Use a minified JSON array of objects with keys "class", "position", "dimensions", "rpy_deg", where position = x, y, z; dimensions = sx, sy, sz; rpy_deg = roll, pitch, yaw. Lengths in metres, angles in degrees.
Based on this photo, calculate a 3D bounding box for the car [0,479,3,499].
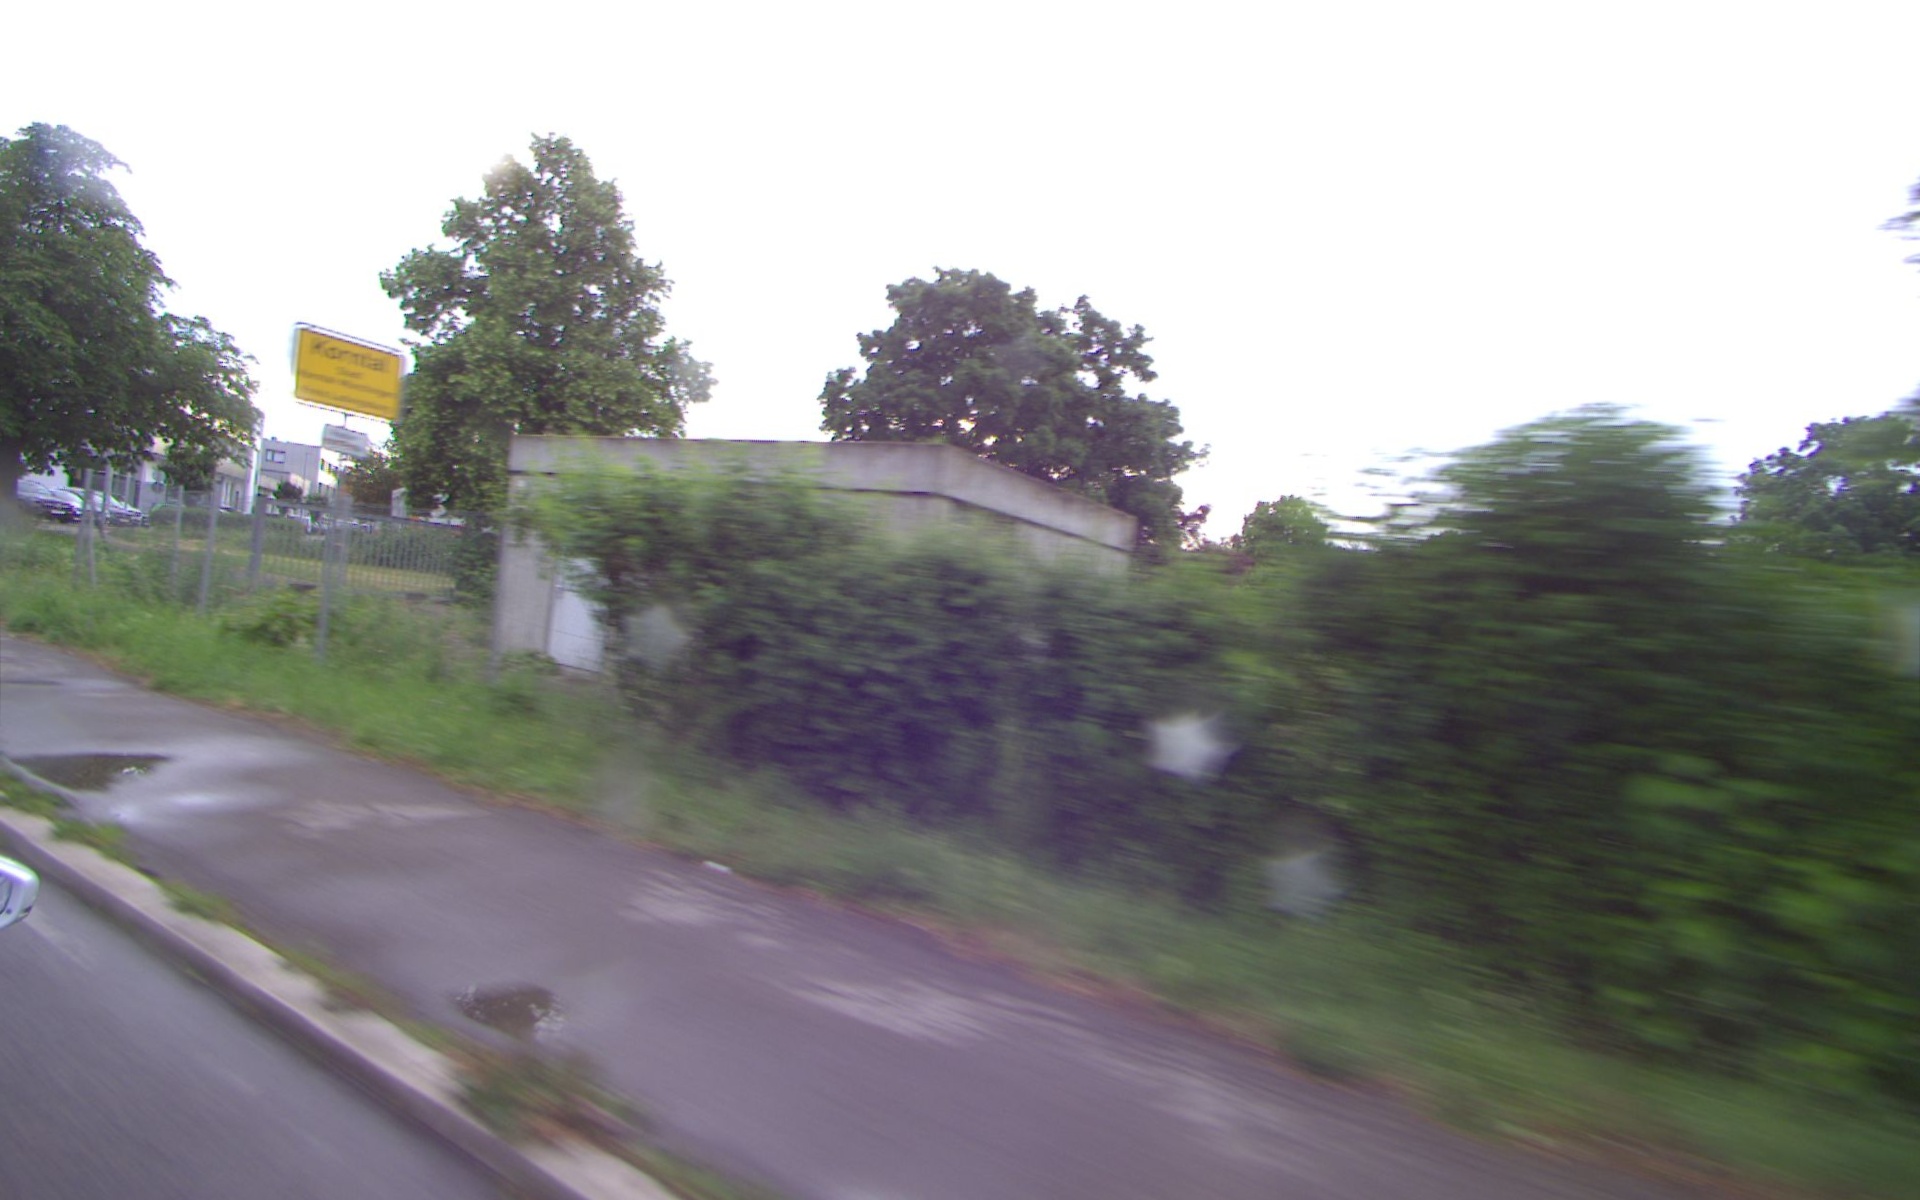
[{"class":"car","position":[-46.463,-5.022,45.787],"dimensions":[1.900,1.771,4.609],"rpy_deg":[8,-1,-12]}]

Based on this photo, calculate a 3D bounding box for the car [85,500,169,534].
[{"class":"car","position":[-51.300,-5.089,62.041],"dimensions":[3.629,1.391,1.643],"rpy_deg":[9,-3,-30]}]

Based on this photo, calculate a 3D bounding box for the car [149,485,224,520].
[{"class":"car","position":[-50.987,-6.422,66.405],"dimensions":[3.632,1.512,1.642],"rpy_deg":[9,-3,-33]}]

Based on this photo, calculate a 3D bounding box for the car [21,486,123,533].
[{"class":"car","position":[-42.114,-4.309,47.707],"dimensions":[4.534,1.621,1.656],"rpy_deg":[7,-2,23]}]

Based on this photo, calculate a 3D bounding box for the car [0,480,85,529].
[{"class":"car","position":[-41.038,-4.270,44.394],"dimensions":[4.534,1.621,1.656],"rpy_deg":[7,-2,23]}]

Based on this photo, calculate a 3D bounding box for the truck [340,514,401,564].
[{"class":"truck","position":[-44.356,-4.496,75.921],"dimensions":[2.454,3.028,6.894],"rpy_deg":[8,-3,-20]}]

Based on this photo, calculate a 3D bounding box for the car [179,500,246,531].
[{"class":"car","position":[-54.012,-6.101,72.798],"dimensions":[3.632,1.512,1.642],"rpy_deg":[9,-3,-33]}]
